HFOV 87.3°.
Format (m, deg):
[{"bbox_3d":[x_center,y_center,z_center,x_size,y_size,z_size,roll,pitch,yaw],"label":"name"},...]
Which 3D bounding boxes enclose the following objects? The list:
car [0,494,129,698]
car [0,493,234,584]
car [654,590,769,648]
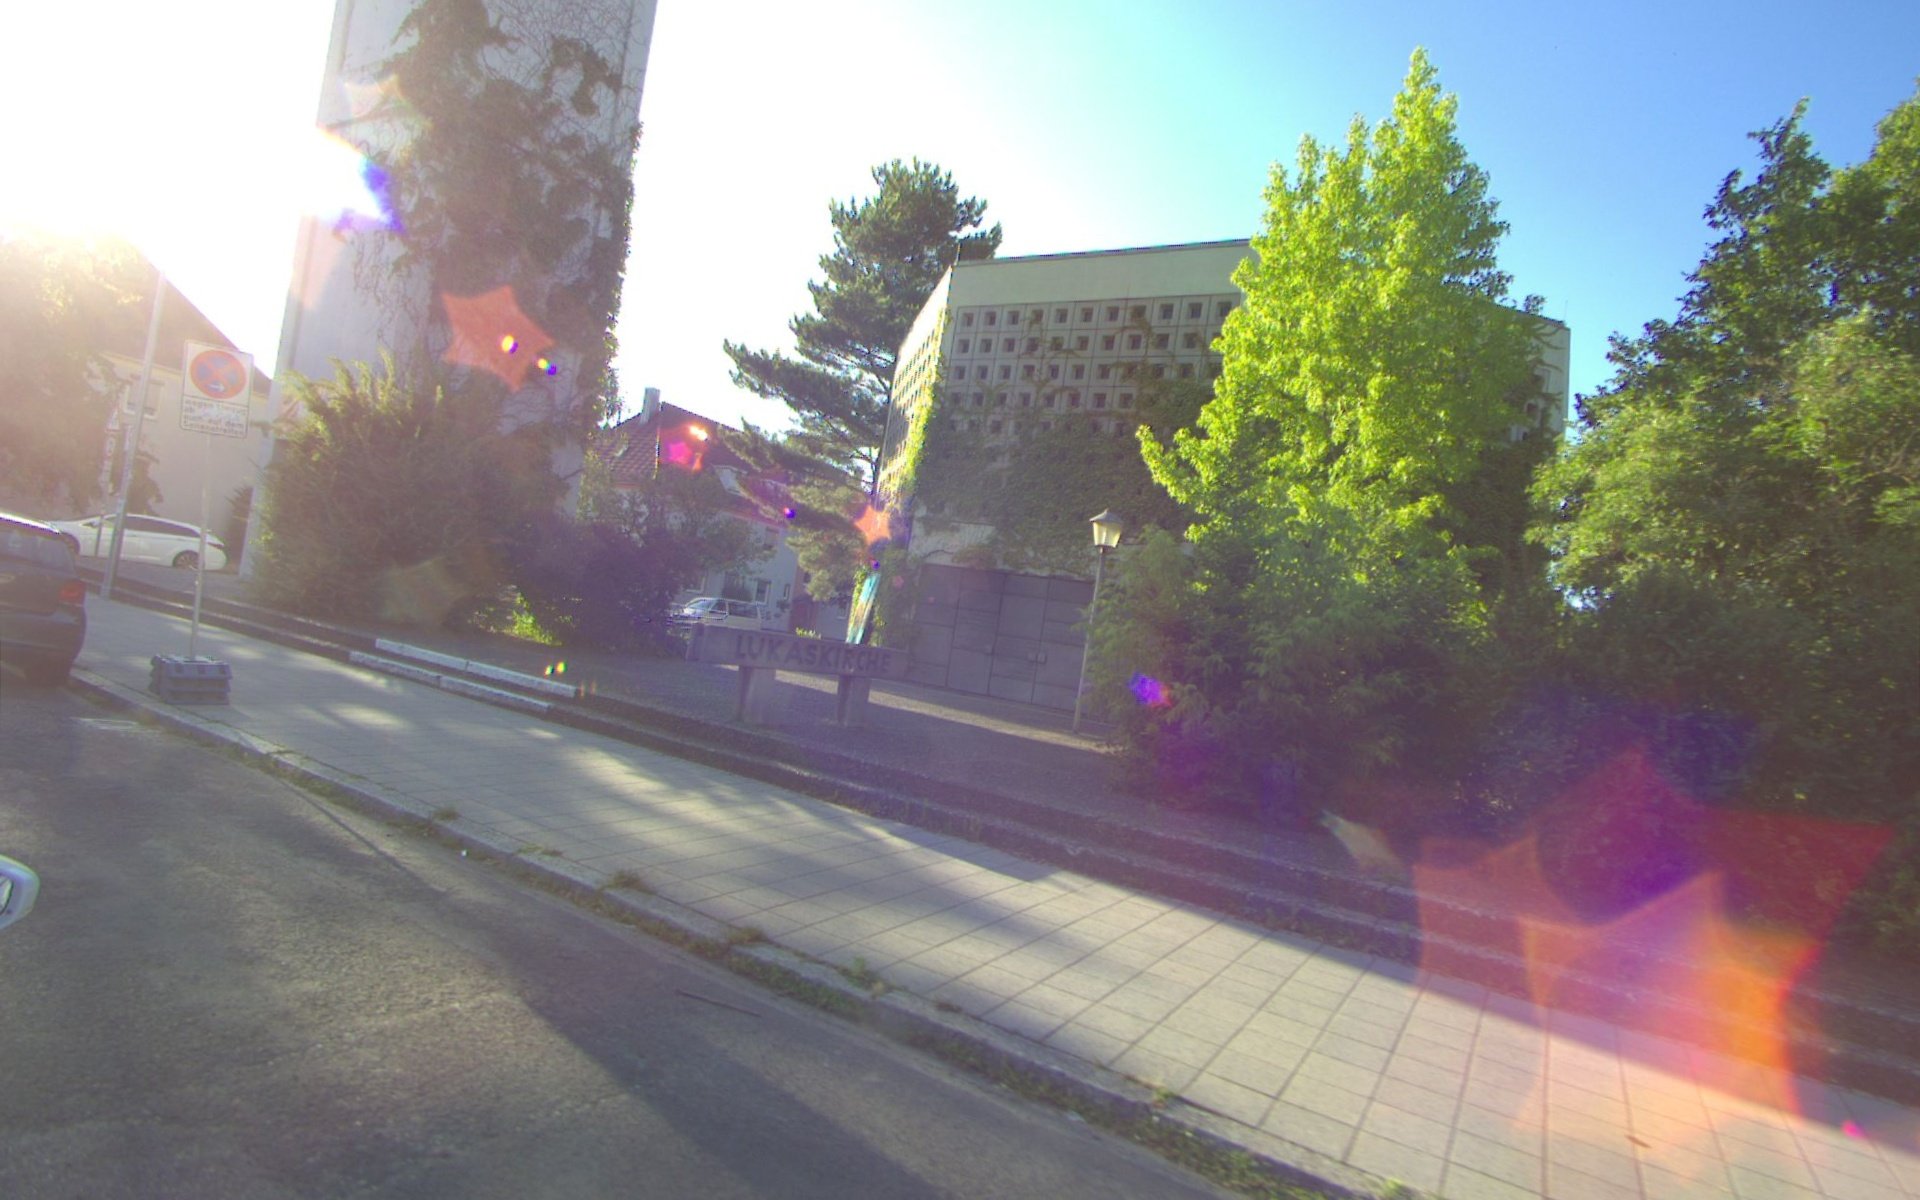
[{"bbox_3d":[-9.486,-0.323,9.058,4.106,1.541,1.695,8,-6,33],"label":"car"},{"bbox_3d":[-22.753,-1.561,26.945,1.970,1.501,4.862,3,-6,31],"label":"car"},{"bbox_3d":[-11.269,0.914,45.993,2.136,1.993,5.020,4,-5,28],"label":"car"}]
